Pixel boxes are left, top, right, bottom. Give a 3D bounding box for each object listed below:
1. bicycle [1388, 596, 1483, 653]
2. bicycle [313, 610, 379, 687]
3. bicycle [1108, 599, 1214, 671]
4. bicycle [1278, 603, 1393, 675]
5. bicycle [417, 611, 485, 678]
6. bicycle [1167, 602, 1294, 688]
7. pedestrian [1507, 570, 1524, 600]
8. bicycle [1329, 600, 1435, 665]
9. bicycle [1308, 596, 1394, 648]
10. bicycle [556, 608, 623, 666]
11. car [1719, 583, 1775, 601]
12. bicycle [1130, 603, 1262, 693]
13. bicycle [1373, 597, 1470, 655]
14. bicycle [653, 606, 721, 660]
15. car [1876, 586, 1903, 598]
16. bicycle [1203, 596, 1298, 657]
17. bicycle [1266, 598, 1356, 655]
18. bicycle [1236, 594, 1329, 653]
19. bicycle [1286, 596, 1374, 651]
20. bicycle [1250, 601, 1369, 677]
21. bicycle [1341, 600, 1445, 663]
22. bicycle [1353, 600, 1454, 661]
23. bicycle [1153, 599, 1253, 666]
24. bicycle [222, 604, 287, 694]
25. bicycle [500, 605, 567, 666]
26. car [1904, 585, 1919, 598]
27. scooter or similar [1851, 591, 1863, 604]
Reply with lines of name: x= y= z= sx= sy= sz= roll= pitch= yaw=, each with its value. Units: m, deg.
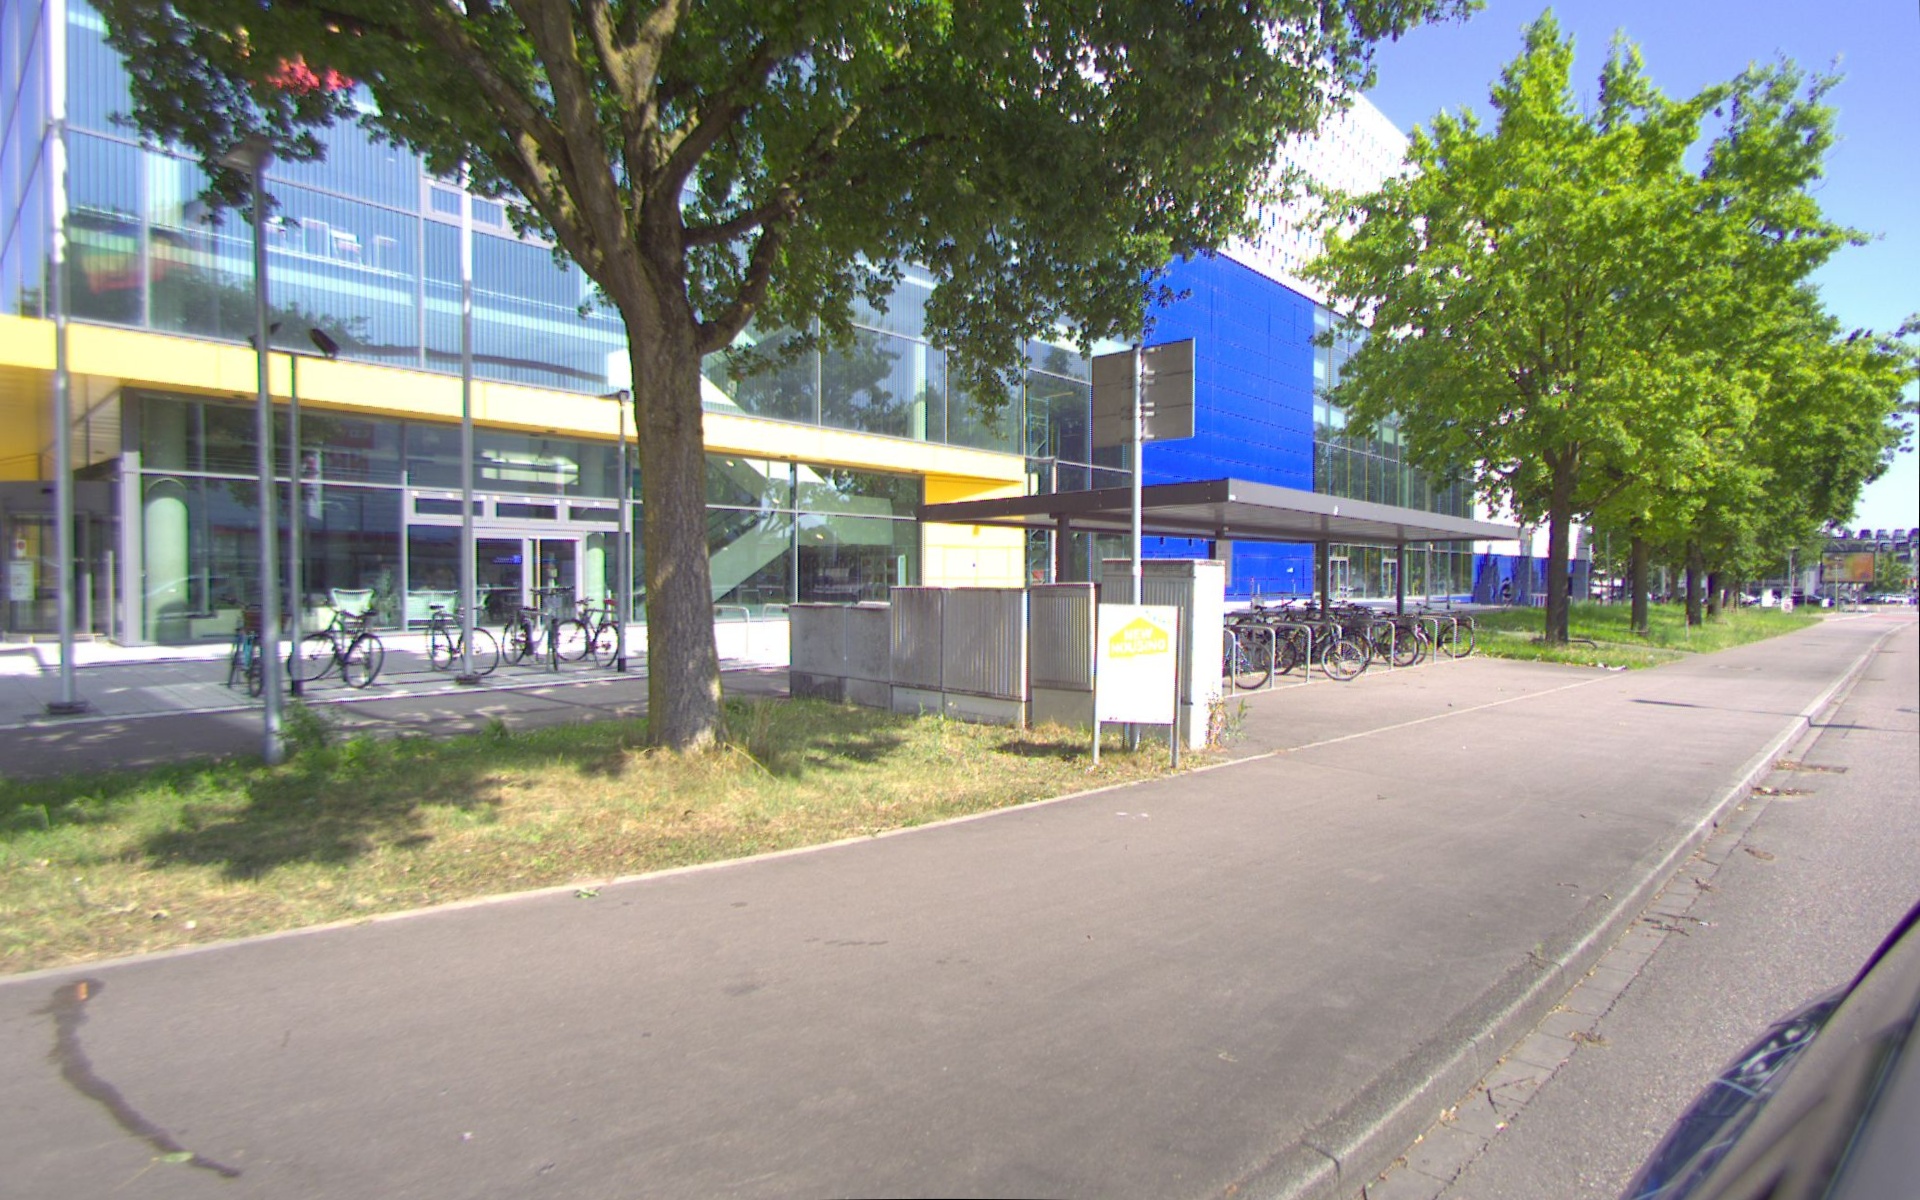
bicycle: x=10.048 y=0.497 z=21.420 sx=0.445 sy=1.110 sz=1.759 roll=0 pitch=1 yaw=-45
bicycle: x=-8.009 y=0.604 z=13.181 sx=0.426 sy=0.921 sz=1.563 roll=0 pitch=0 yaw=-43
bicycle: x=3.298 y=0.548 z=16.722 sx=0.445 sy=1.110 sz=1.759 roll=0 pitch=1 yaw=-45
bicycle: x=6.241 y=0.626 z=16.894 sx=0.445 sy=1.110 sz=1.759 roll=0 pitch=1 yaw=-45
bicycle: x=-7.158 y=0.605 z=14.201 sx=0.426 sy=0.854 sz=1.563 roll=0 pitch=0 yaw=-43
bicycle: x=3.815 y=0.605 z=14.381 sx=0.445 sy=1.110 sz=1.759 roll=0 pitch=1 yaw=-45
pedestrian: x=30.981 y=-0.822 z=56.436 sx=0.687 sy=1.632 sz=0.760 roll=2 pitch=1 yaw=41
bicycle: x=7.742 y=0.578 z=18.611 sx=0.445 sy=1.110 sz=1.759 roll=0 pitch=1 yaw=-45
bicycle: x=8.757 y=0.469 z=22.726 sx=0.445 sy=1.110 sz=1.759 roll=0 pitch=1 yaw=-45
bicycle: x=-5.924 y=0.567 z=16.146 sx=0.426 sy=0.854 sz=1.563 roll=0 pitch=0 yaw=-43
car: x=91.217 y=-0.973 z=117.282 sx=4.983 sy=2.032 sz=1.714 roll=1 pitch=2 yaw=43
bicycle: x=3.157 y=0.609 z=13.647 sx=0.445 sy=1.110 sz=1.759 roll=0 pitch=1 yaw=-45
bicycle: x=9.439 y=0.504 z=20.755 sx=0.456 sy=1.110 sz=1.759 roll=0 pitch=1 yaw=-45
bicycle: x=-4.647 y=0.541 z=17.166 sx=0.426 sy=0.854 sz=1.563 roll=0 pitch=0 yaw=-43
car: x=114.854 y=-1.045 z=125.008 sx=3.930 sy=1.479 sz=1.997 roll=-1 pitch=1 yaw=-41
bicycle: x=5.564 y=0.487 z=19.445 sx=0.445 sy=1.110 sz=1.759 roll=0 pitch=1 yaw=-45
bicycle: x=7.305 y=0.538 z=21.132 sx=0.445 sy=1.110 sz=1.759 roll=0 pitch=1 yaw=-45
bicycle: x=6.459 y=0.458 z=20.316 sx=0.445 sy=1.110 sz=1.759 roll=0 pitch=1 yaw=-45
bicycle: x=8.020 y=0.492 z=21.982 sx=0.445 sy=1.110 sz=1.759 roll=0 pitch=1 yaw=-45
bicycle: x=5.515 y=0.589 z=16.051 sx=0.445 sy=1.110 sz=1.759 roll=0 pitch=1 yaw=-45
bicycle: x=8.095 y=0.569 z=18.978 sx=0.445 sy=1.110 sz=1.759 roll=0 pitch=1 yaw=-45
bicycle: x=8.627 y=0.571 z=19.739 sx=0.445 sy=1.110 sz=1.759 roll=0 pitch=1 yaw=-45
bicycle: x=4.303 y=0.550 z=18.015 sx=0.445 sy=1.110 sz=1.759 roll=0 pitch=1 yaw=-45
bicycle: x=-8.556 y=0.564 z=12.256 sx=0.426 sy=1.007 sz=1.563 roll=0 pitch=0 yaw=-43
bicycle: x=-6.488 y=0.517 z=15.362 sx=0.426 sy=0.854 sz=1.563 roll=0 pitch=0 yaw=-44
car: x=116.696 y=-1.043 z=123.391 sx=3.931 sy=1.479 sz=1.886 roll=-2 pitch=2 yaw=-41
scooter or similar: x=79.562 y=-0.215 z=89.737 sx=1.160 sy=1.181 sz=0.403 roll=-2 pitch=1 yaw=-29
